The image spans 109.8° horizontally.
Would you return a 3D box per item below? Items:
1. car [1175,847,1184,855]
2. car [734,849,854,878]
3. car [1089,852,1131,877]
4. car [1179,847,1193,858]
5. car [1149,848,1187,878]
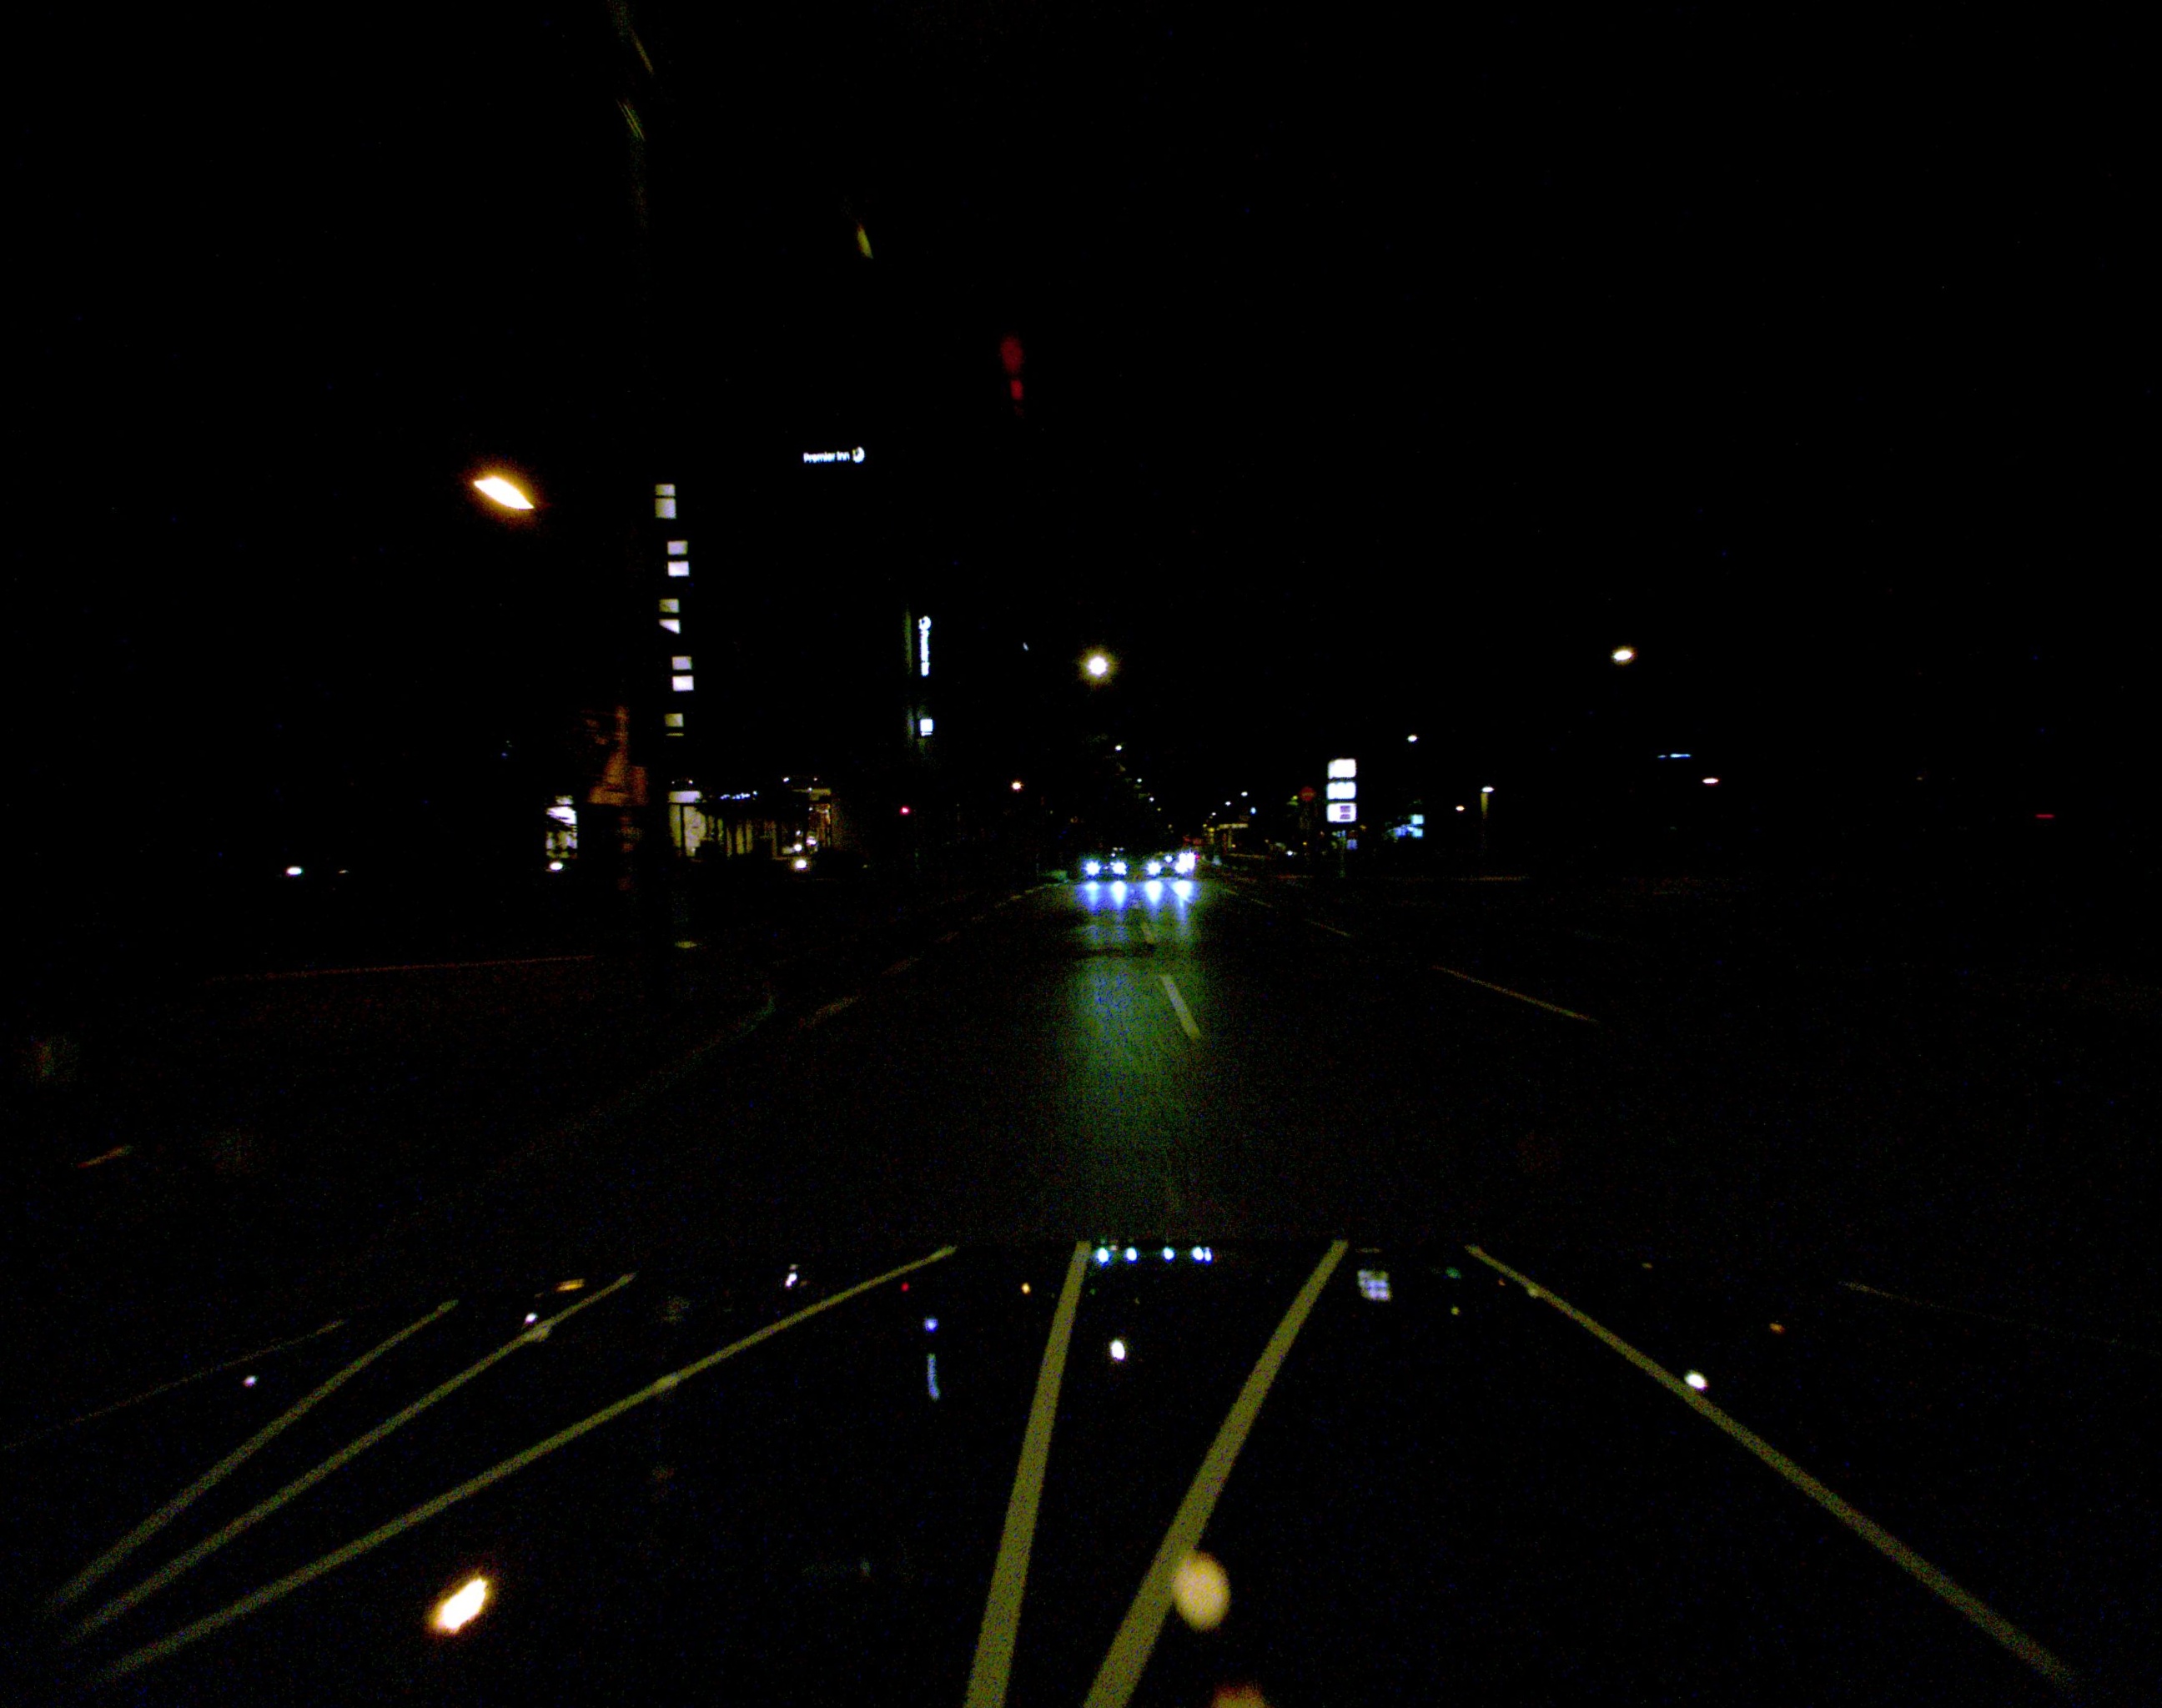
[{"bbox_3d":[21.806,-0.734,168.742,1.827,1.696,4.001,-2,1,6],"label":"car"},{"bbox_3d":[-10.890,0.375,28.958,4.008,1.028,1.480,1,-1,-39],"label":"car"},{"bbox_3d":[1.675,0.542,42.777,1.947,1.299,3.908,1,0,8],"label":"car"},{"bbox_3d":[17.636,-0.272,127.587,1.907,1.608,3.719,-2,1,3],"label":"car"},{"bbox_3d":[4.741,0.458,41.106,1.858,1.482,3.561,-2,0,8],"label":"car"}]
